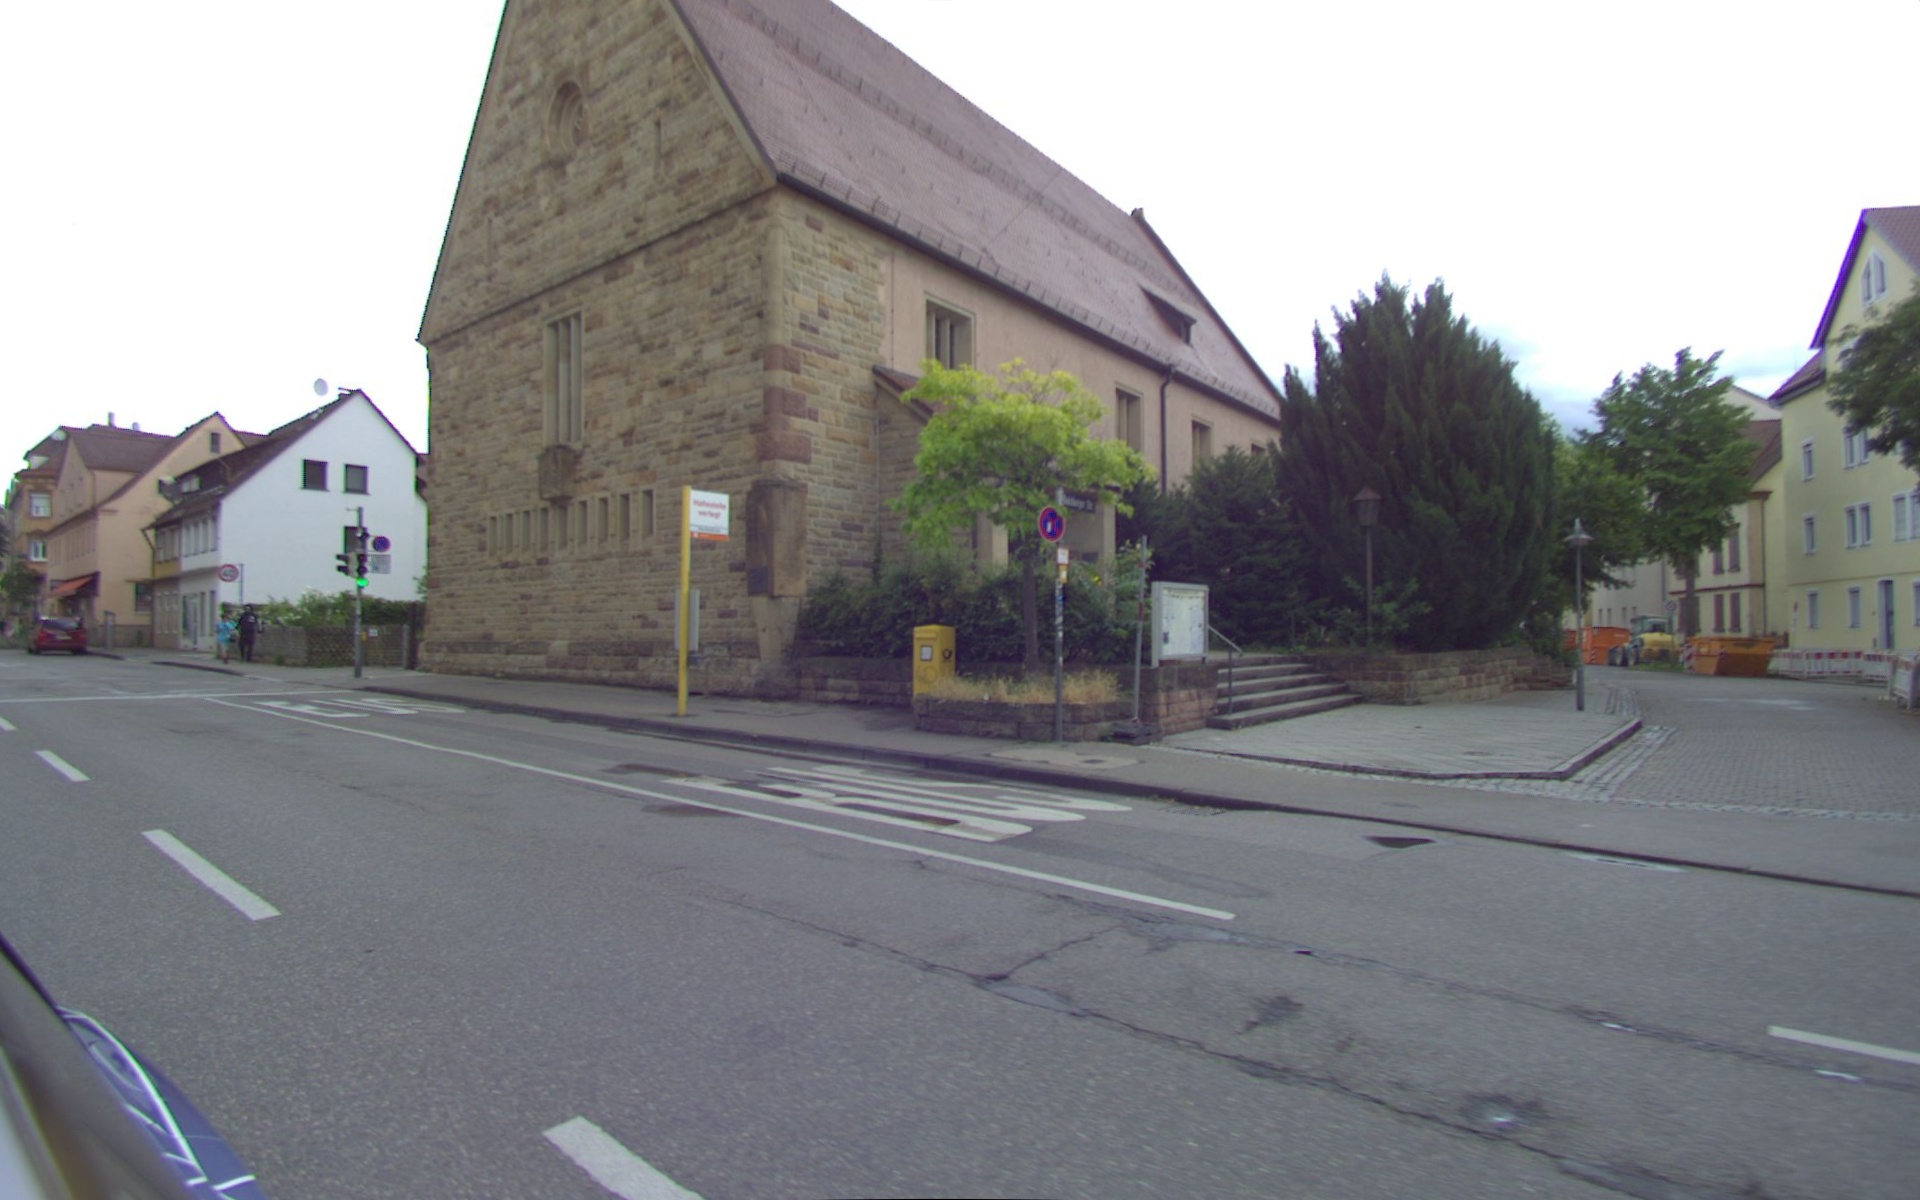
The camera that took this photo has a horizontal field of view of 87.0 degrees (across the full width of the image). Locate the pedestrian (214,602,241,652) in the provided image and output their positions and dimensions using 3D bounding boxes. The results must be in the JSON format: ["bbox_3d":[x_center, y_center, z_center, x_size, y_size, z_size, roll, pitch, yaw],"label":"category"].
[{"bbox_3d":[-23.472,0.869,32.416,0.697,1.566,0.564,-1,0,43],"label":"pedestrian"}]

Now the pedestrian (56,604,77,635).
[{"bbox_3d":[-47.888,1.028,54.254,0.758,1.641,0.723,0,1,39],"label":"pedestrian"}]

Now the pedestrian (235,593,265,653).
[{"bbox_3d":[-22.476,0.726,32.035,0.697,1.862,0.564,-1,1,43],"label":"pedestrian"}]

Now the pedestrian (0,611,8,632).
[{"bbox_3d":[-82.354,1.853,86.937,1.156,1.731,0.731,-2,-1,41],"label":"pedestrian"}]

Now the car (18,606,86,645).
[{"bbox_3d":[-39.481,1.086,43.969,4.449,1.586,1.684,0,-3,42],"label":"car"}]

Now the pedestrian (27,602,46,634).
[{"bbox_3d":[-51.942,0.996,56.917,0.983,1.768,0.730,-2,-2,43],"label":"pedestrian"}]

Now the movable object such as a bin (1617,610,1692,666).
[{"bbox_3d":[34.112,1.855,49.826,1.980,2.671,3.166,0,-2,13],"label":"movable object such as a bin"}]
